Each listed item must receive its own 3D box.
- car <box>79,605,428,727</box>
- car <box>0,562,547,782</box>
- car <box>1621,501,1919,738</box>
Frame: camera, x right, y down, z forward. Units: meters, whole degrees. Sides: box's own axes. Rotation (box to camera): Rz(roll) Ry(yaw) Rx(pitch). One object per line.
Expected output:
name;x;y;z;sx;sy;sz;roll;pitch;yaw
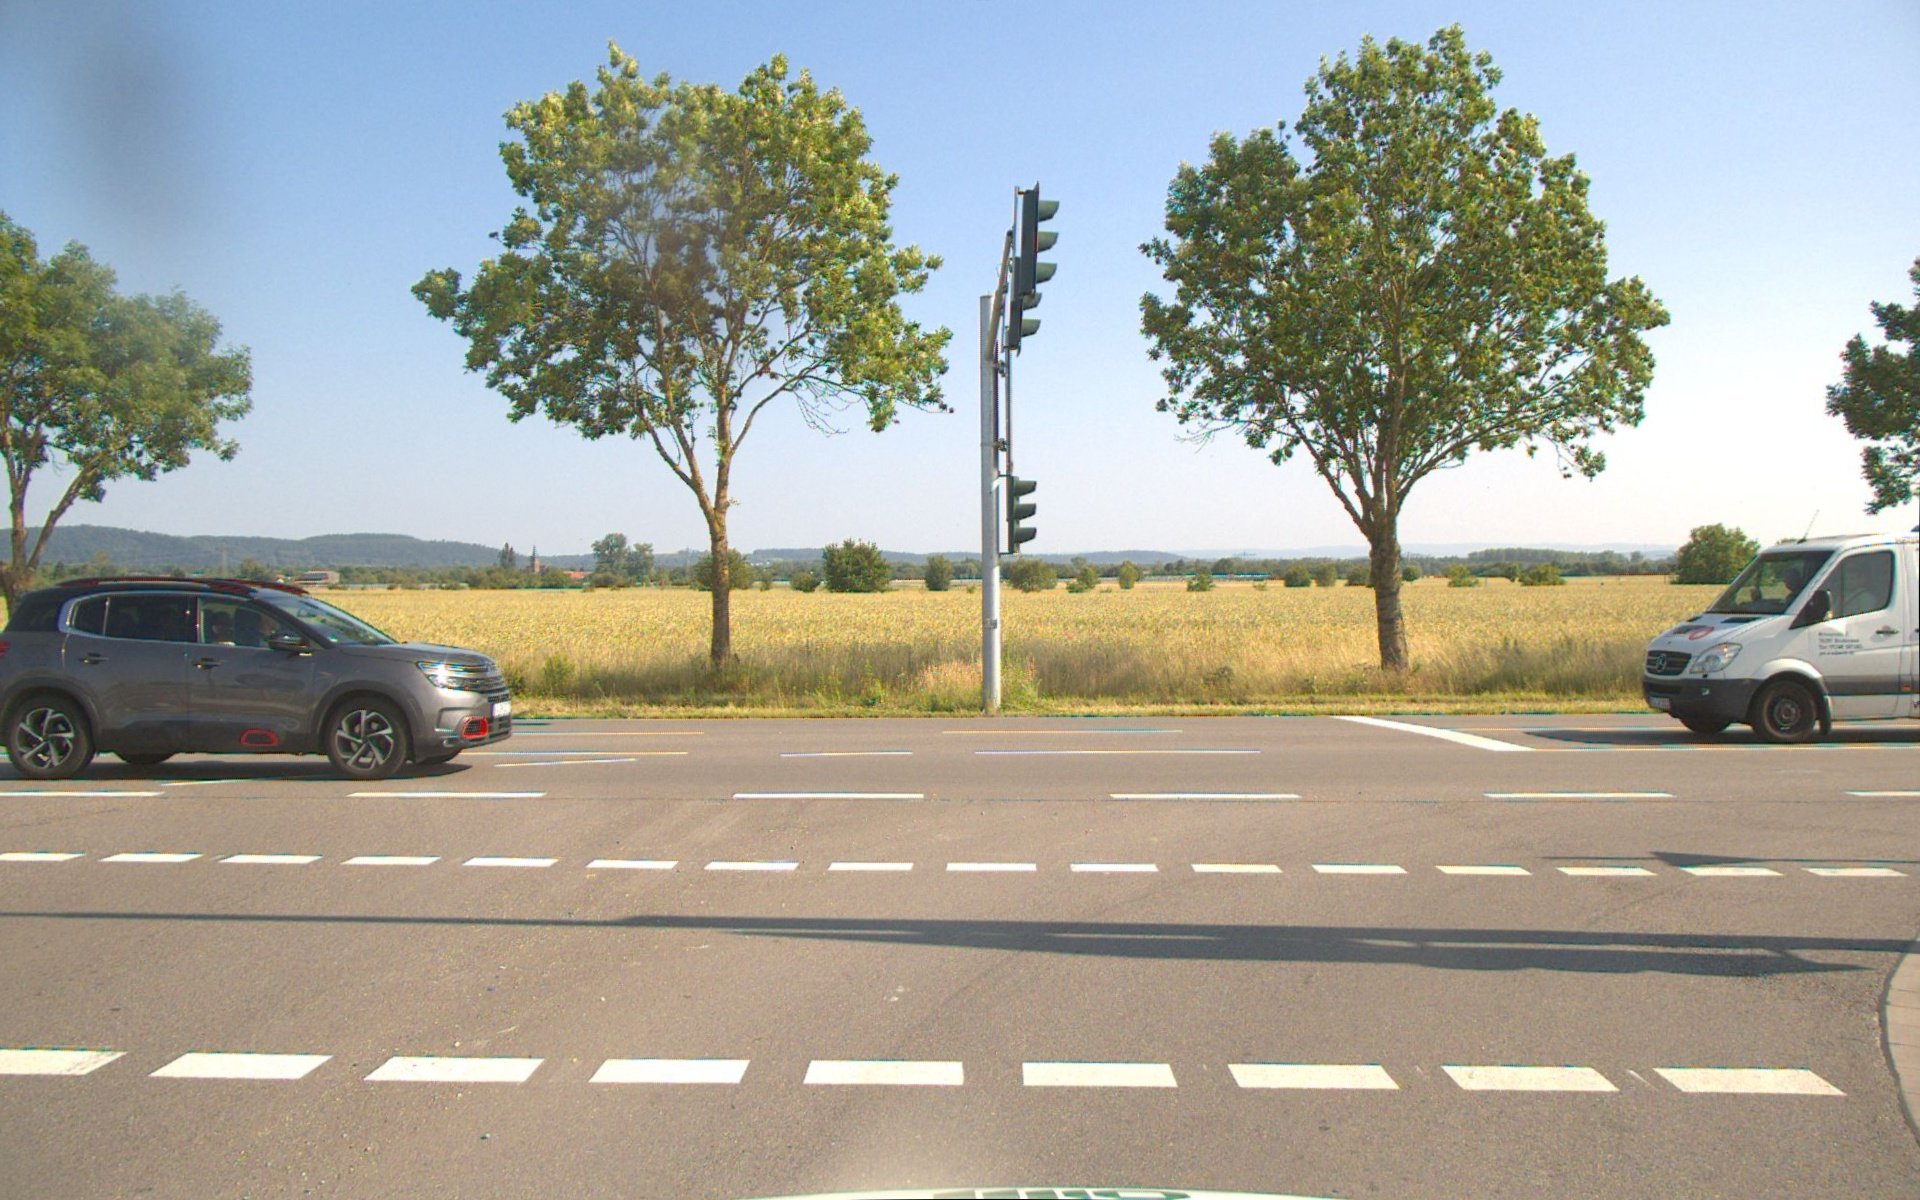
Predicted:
car;-9.548;0.867;22.612;3.906;1.527;2.000;0;1;-1
car;-6.192;0.606;14.684;4.509;1.754;1.999;1;-1;-1
car;10.855;0.212;18.881;5.838;2.536;1.999;0;-1;-3
